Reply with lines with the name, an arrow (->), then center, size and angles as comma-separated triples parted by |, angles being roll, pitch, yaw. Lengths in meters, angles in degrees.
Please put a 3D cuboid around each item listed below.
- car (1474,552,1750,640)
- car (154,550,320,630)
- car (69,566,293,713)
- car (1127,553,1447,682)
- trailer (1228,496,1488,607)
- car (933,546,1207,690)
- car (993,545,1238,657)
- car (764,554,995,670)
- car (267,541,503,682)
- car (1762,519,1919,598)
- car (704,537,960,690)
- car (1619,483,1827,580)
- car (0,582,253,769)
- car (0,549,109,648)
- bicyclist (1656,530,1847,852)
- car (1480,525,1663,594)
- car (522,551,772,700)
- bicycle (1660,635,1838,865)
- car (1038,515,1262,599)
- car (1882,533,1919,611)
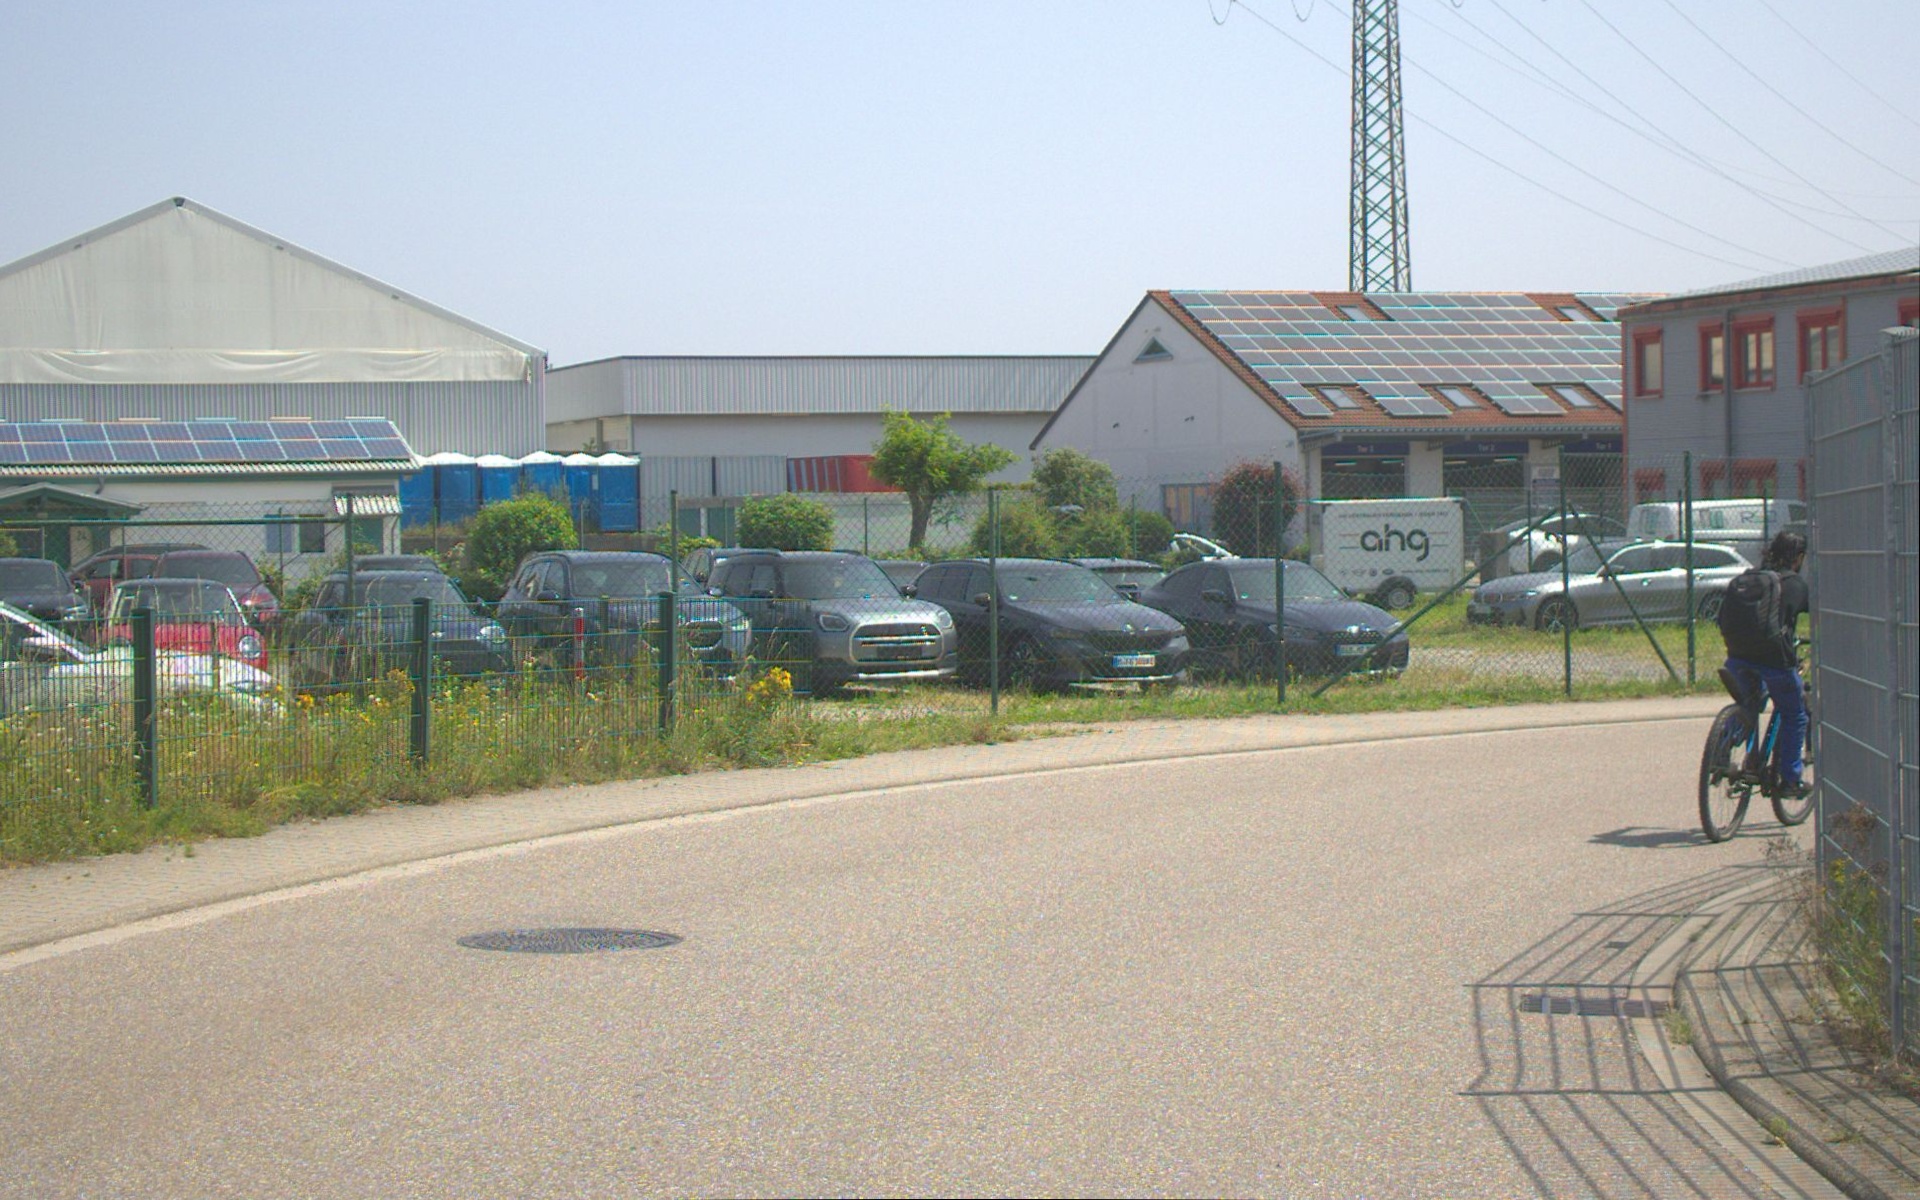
car -> 10.030, -0.073, 52.872 | 4.127, 1.256, 1.235 | -1, 1, -21
car -> -11.280, -0.184, 53.448 | 1.862, 1.171, 4.605 | -1, 1, -20
car -> -8.298, 0.381, 36.435 | 1.862, 1.448, 3.442 | -1, 1, -20
car -> 3.845, 0.163, 41.301 | 1.995, 1.430, 4.667 | -1, 1, -20
trailer -> 7.248, -0.896, 62.771 | 4.447, 1.938, 1.715 | -1, 1, -5
car -> 1.209, 0.169, 39.635 | 1.862, 1.549, 3.771 | -1, 1, -20
car -> 2.054, -0.017, 46.793 | 1.995, 1.430, 4.423 | -1, 1, -16
car -> -1.123, 0.123, 45.622 | 1.993, 1.415, 4.001 | -1, 1, -18
car -> -6.280, 0.093, 37.270 | 1.862, 1.428, 3.650 | -1, 1, -20
car -> 18.285, -0.852, 69.963 | 3.591, 1.538, 1.508 | -1, 1, -21
car -> -1.505, 0.121, 39.195 | 1.862, 1.638, 3.635 | -1, 1, -20
car -> 16.027, -1.447, 72.202 | 3.893, 1.972, 1.824 | -1, 1, -21
car -> -7.628, 0.551, 25.235 | 4.546, 1.302, 1.869 | -1, 1, -19
car -> -14.137, -0.051, 52.147 | 1.862, 1.428, 4.605 | -1, 1, -20
bicyclist -> 4.138, 0.447, 17.935 | 0.843, 1.613, 1.038 | 1, 1, 19
car -> 14.035, -0.934, 78.914 | 3.893, 1.510, 1.508 | -1, 1, -21
car -> -3.546, 0.241, 38.384 | 1.862, 1.556, 3.698 | -1, 1, -20
bicycle -> 4.156, 0.754, 18.015 | 0.685, 1.048, 1.899 | 1, 2, 20
car -> 3.733, -0.852, 67.678 | 3.986, 1.593, 1.877 | -1, 1, -18
car -> 19.085, -0.554, 63.809 | 3.591, 1.411, 1.508 | -1, 1, -21
